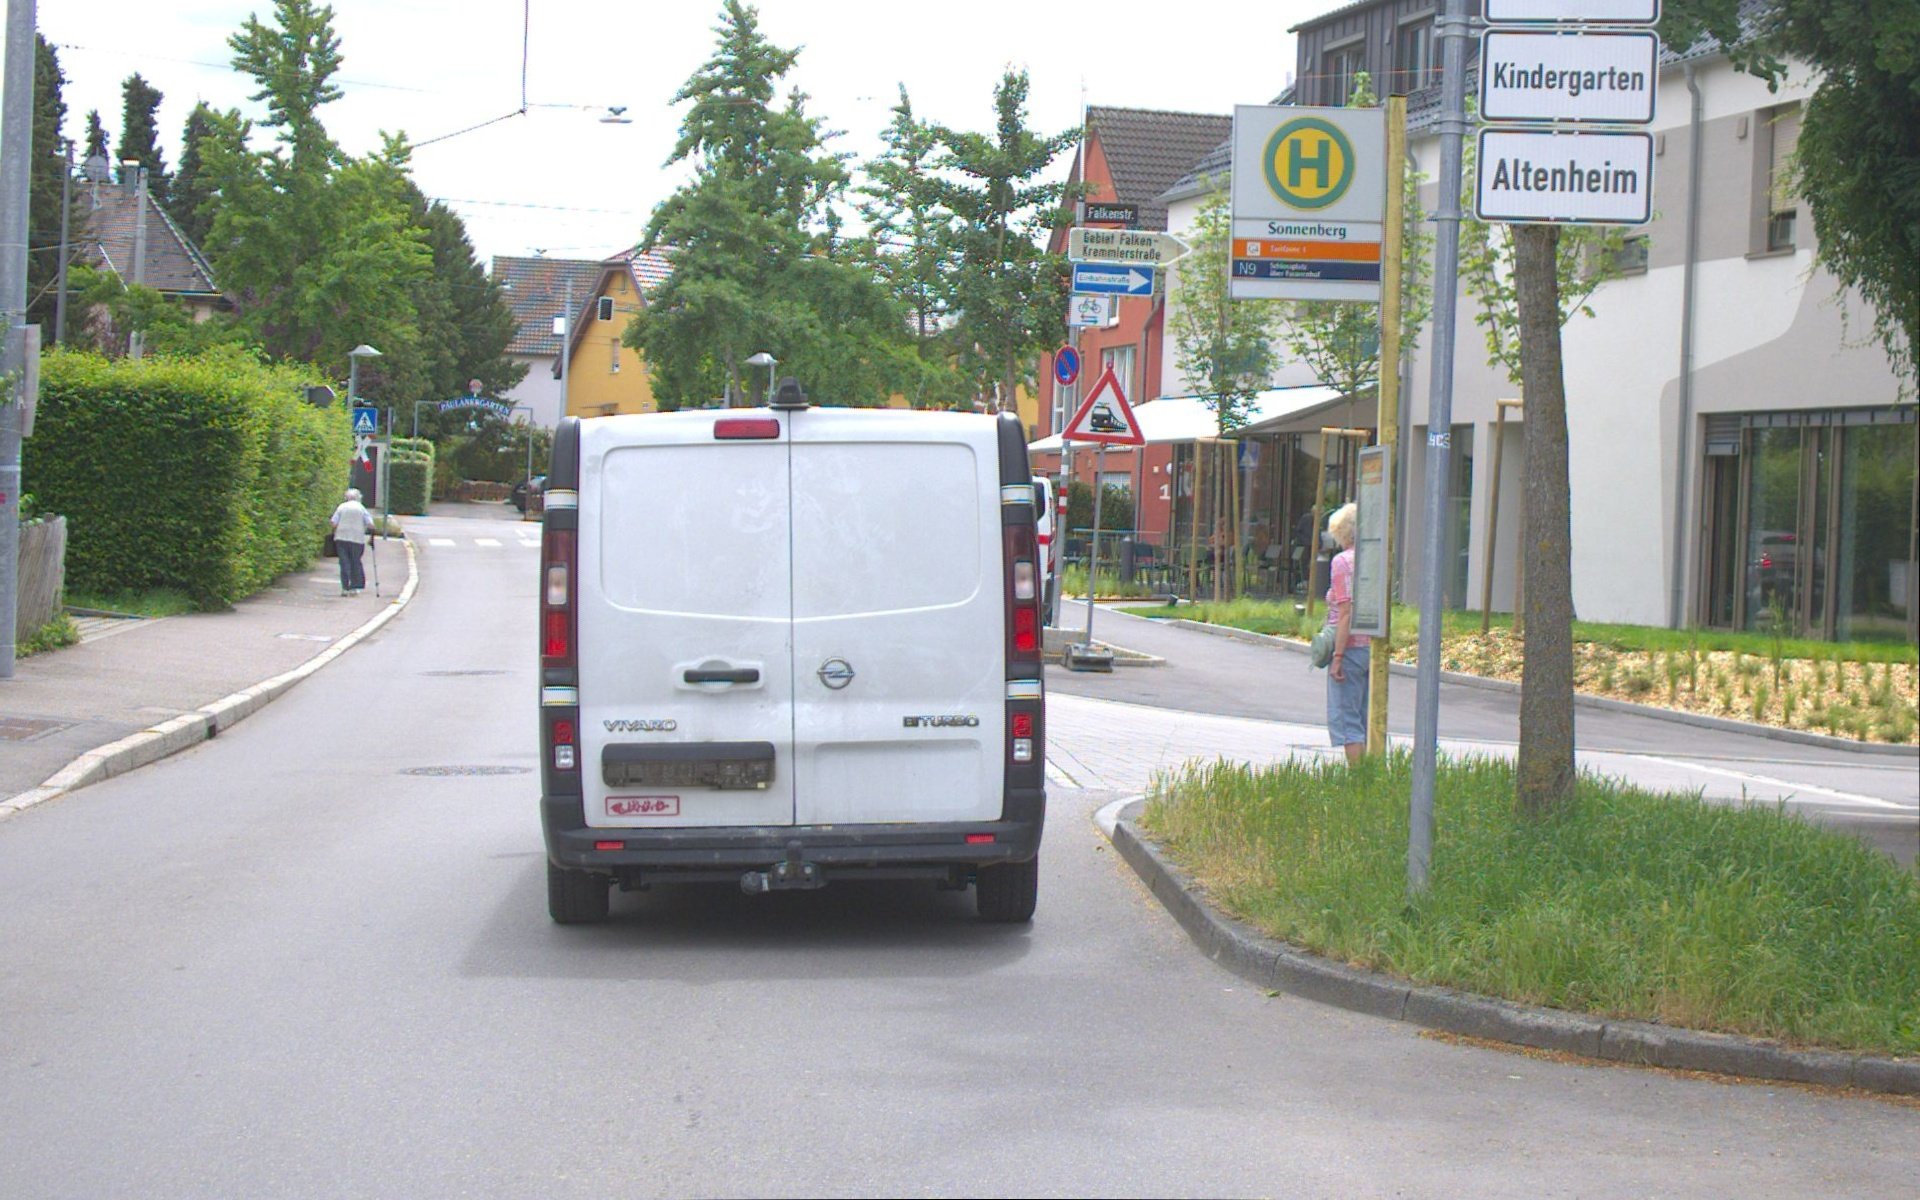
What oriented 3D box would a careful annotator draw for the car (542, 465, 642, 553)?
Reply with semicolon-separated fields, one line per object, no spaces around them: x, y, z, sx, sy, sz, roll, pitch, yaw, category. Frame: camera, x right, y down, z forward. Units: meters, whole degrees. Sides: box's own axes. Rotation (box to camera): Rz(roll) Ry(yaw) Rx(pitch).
-7.798;-1.914;72.589;1.993;1.776;4.001;1;1;-8;car

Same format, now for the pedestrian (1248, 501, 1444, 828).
2.069;0.329;18.326;0.881;1.639;0.856;4;1;9;pedestrian

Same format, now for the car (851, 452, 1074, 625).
-0.038;-0.783;42.970;1.958;1.909;4.903;4;1;-8;car

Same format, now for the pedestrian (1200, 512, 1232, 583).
4.332;-0.890;58.167;0.421;1.178;0.324;2;1;-9;pedestrian

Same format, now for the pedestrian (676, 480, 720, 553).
-5.986;-1.907;78.465;0.804;1.604;0.628;4;1;-12;pedestrian

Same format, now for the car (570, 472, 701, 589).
-5.445;-1.161;57.263;1.993;1.842;4.001;1;1;-8;car

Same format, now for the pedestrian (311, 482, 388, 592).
-8.607;-0.883;48.440;0.876;1.480;0.455;4;1;-27;pedestrian

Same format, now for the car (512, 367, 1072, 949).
-0.817;0.175;14.248;1.915;1.996;4.439;1;1;-6;car
